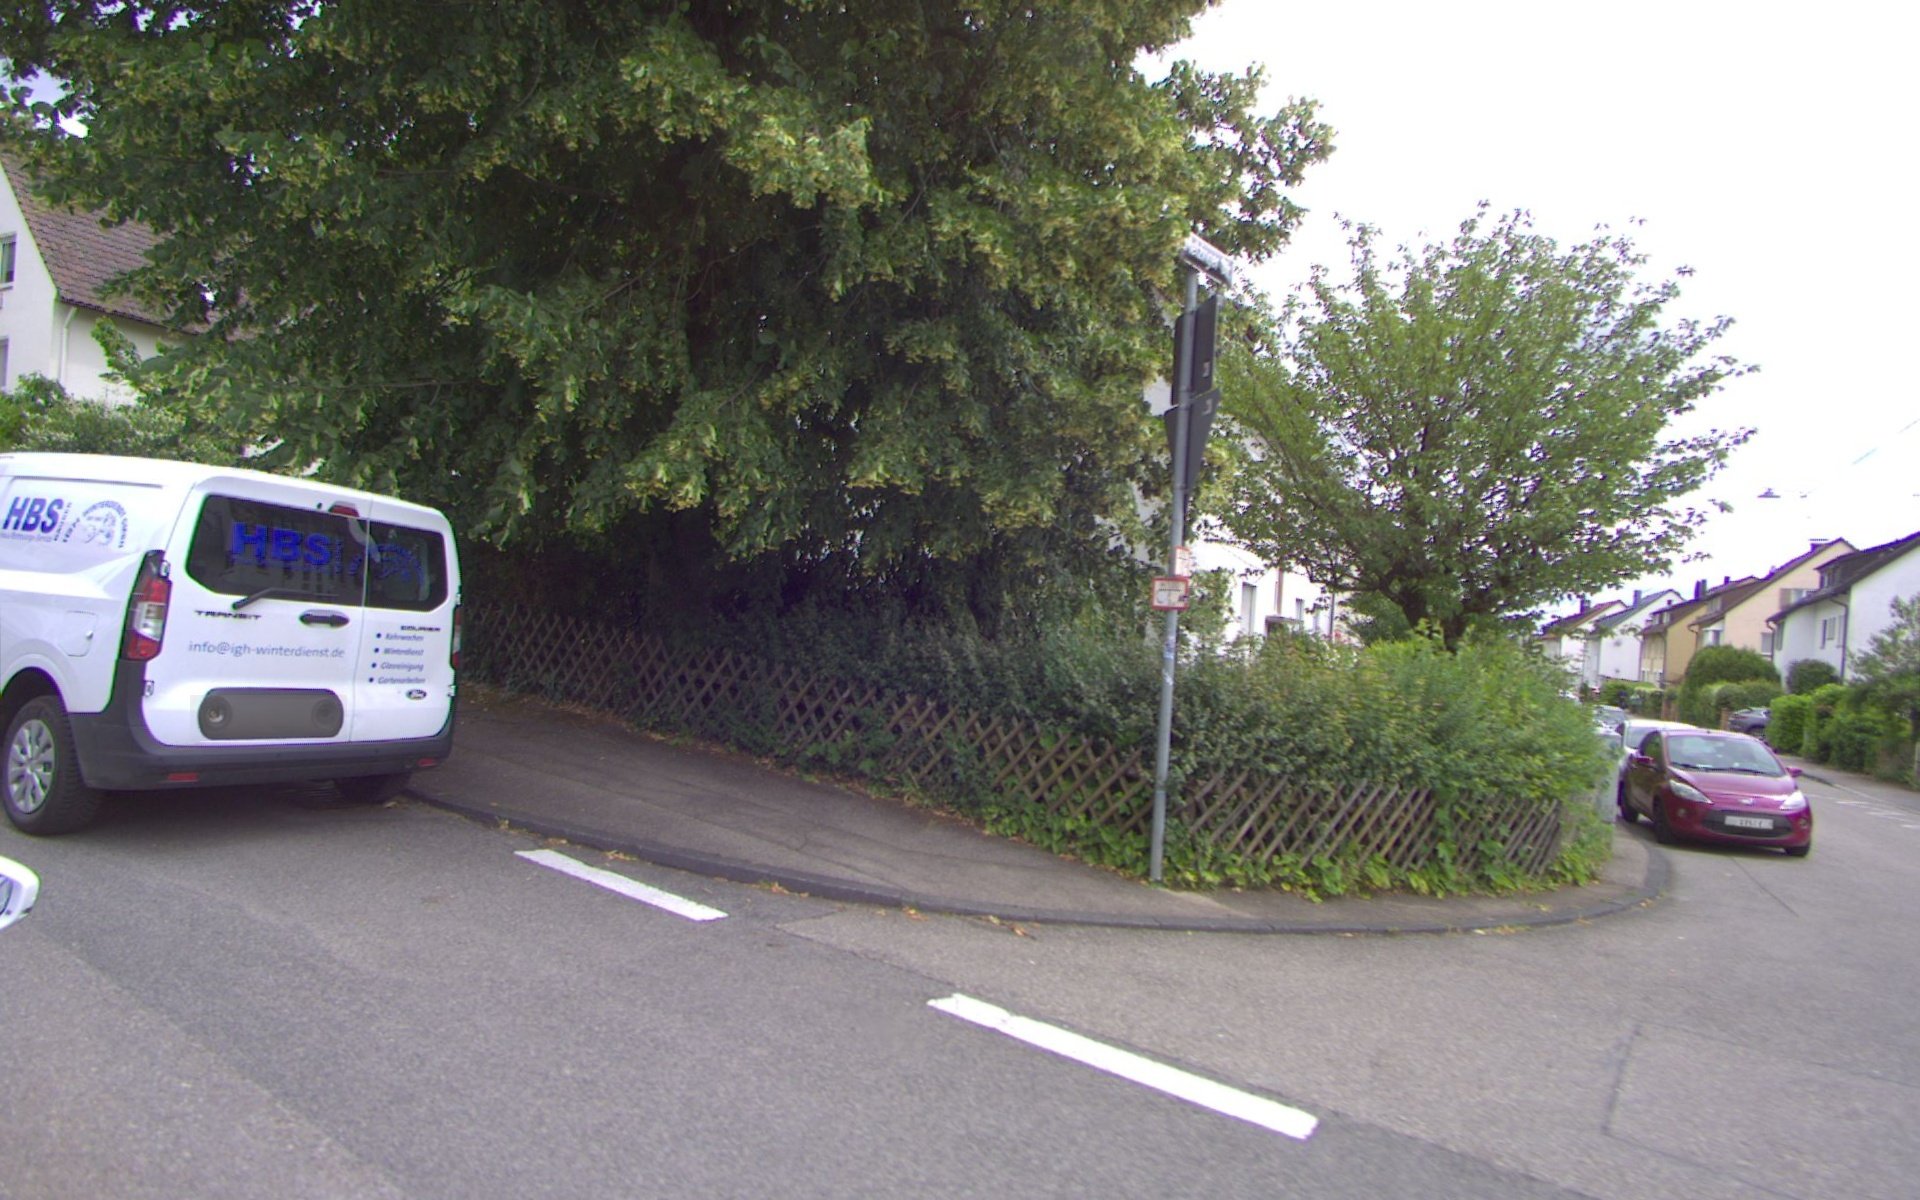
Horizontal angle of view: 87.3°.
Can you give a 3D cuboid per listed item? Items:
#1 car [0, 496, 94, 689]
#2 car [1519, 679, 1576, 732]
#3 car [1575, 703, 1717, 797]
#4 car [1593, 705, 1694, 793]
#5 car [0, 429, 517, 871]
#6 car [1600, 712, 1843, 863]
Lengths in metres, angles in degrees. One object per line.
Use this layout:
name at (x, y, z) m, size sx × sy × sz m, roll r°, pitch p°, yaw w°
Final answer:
car at (-9.657, -0.272, 8.406) m, size 4.538 × 1.496 × 1.997 m, roll 6°, pitch 0°, yaw 26°
car at (26.604, 4.733, 45.546) m, size 1.967 × 2.038 × 3.993 m, roll 5°, pitch -1°, yaw 31°
car at (12.940, 2.767, 19.183) m, size 1.813 × 1.385 × 3.735 m, roll 3°, pitch -3°, yaw 29°
car at (19.301, 4.132, 28.581) m, size 1.967 × 2.037 × 3.994 m, roll 4°, pitch -2°, yaw 30°
car at (-4.966, 0.088, 5.887) m, size 4.240 × 1.794 × 1.844 m, roll 7°, pitch -2°, yaw 25°
car at (10.476, 2.491, 14.162) m, size 1.656 × 1.581 × 3.712 m, roll 2°, pitch -3°, yaw 20°
